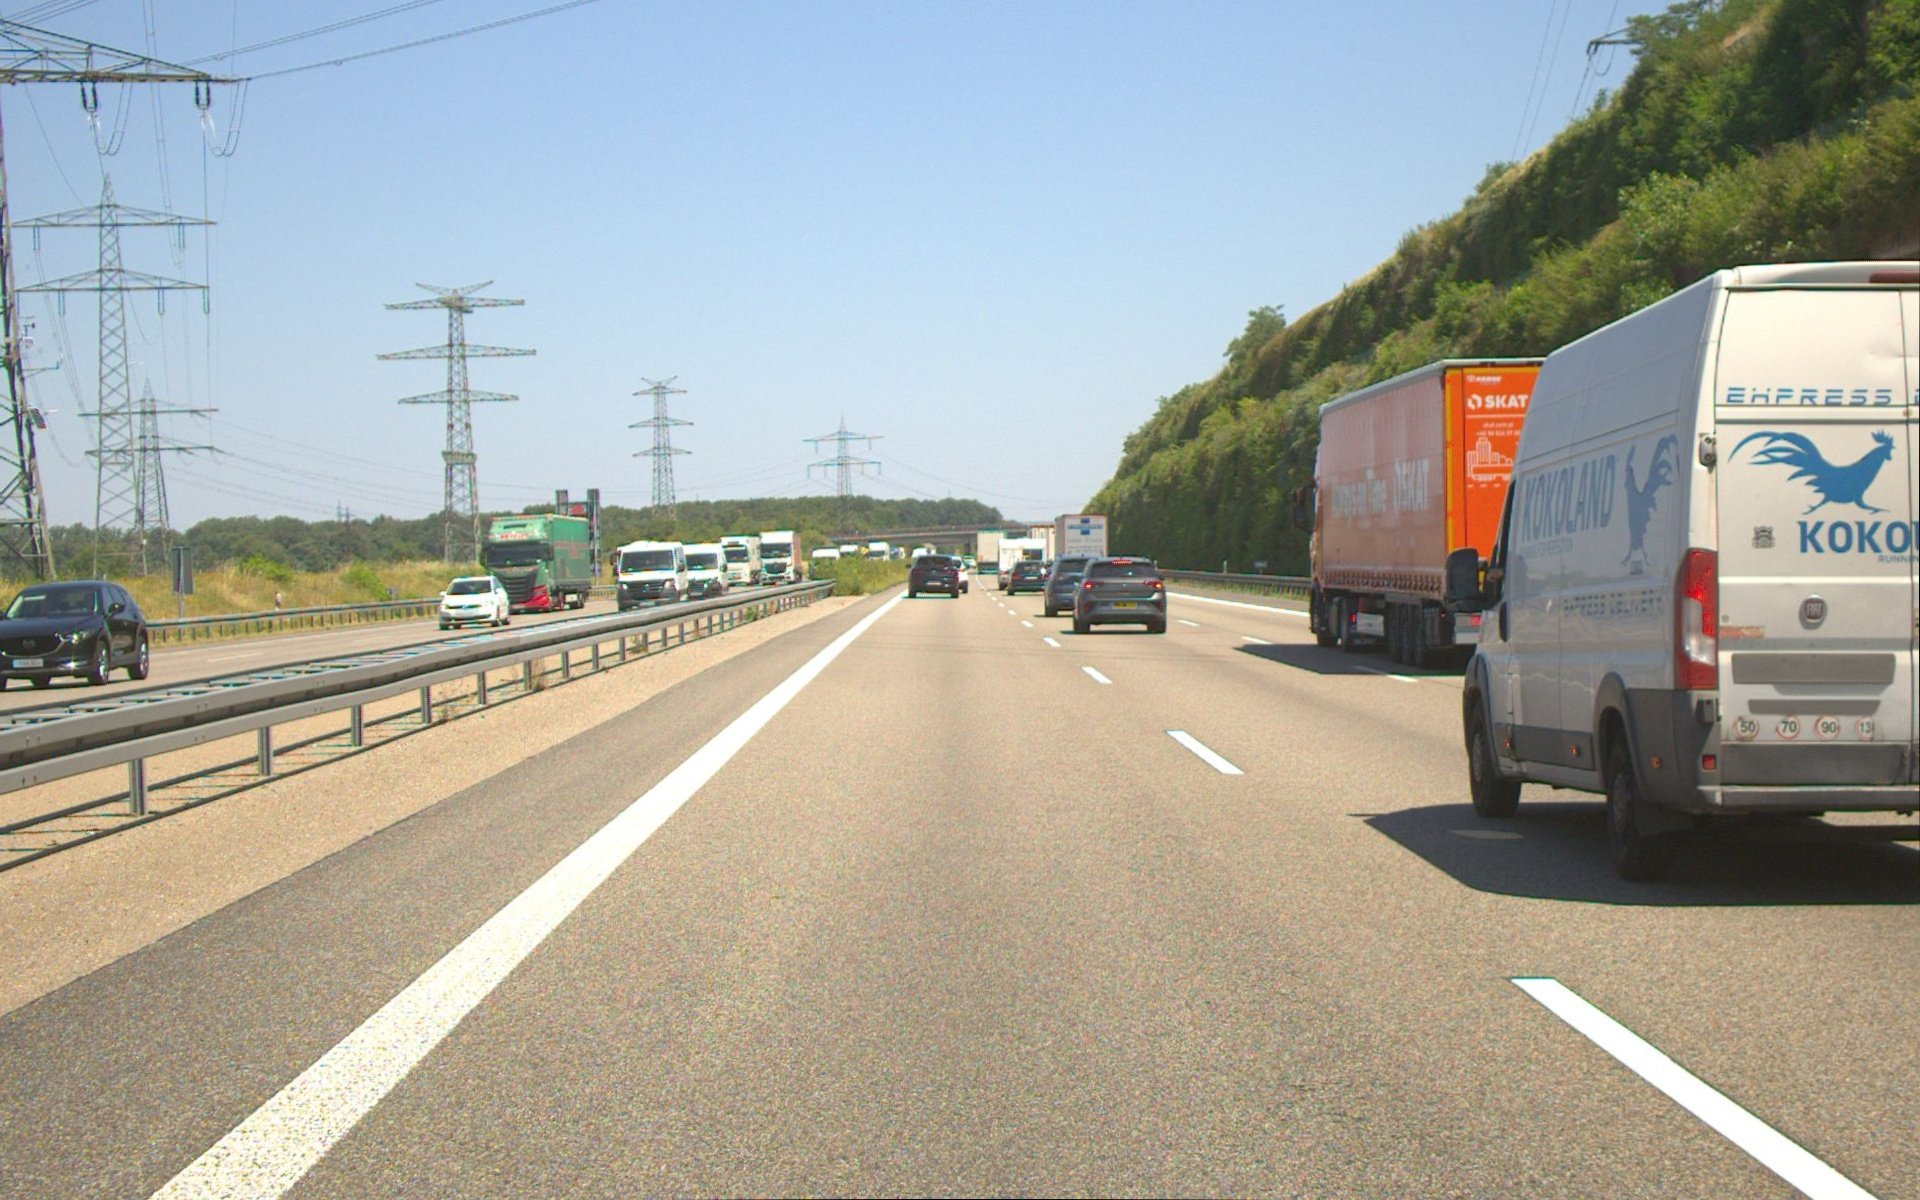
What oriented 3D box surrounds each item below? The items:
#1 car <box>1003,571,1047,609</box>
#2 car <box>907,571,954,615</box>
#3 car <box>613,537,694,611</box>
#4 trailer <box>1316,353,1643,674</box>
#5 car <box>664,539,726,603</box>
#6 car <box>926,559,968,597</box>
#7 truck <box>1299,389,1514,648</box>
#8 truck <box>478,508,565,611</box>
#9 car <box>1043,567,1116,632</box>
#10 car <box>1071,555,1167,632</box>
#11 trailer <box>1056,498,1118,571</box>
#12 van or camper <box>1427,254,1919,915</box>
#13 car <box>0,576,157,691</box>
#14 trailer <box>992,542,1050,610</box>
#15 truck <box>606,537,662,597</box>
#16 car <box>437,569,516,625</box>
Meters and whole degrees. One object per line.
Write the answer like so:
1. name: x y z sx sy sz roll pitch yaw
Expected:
1. car: 2.767 -0.442 146.430 1.830 1.520 4.000 -1 1 1
2. car: -1.158 -0.272 136.272 1.830 1.665 4.000 -1 1 0
3. car: -10.031 -0.878 112.999 2.108 2.290 6.707 -2 1 -1
4. trailer: 7.188 -1.165 49.719 2.645 3.991 13.606 0 1 0
5. car: -10.726 -1.193 139.315 2.047 2.430 6.070 -2 1 -1
6. car: -0.566 -0.992 154.955 1.830 1.665 4.000 -1 1 0
7. truck: 7.220 -1.297 56.365 2.618 3.979 6.527 -1 1 0
8. truck: -18.260 -1.709 143.422 2.699 4.120 6.581 -2 1 0
9. car: 3.133 -0.039 91.050 1.794 1.647 4.138 -1 1 0
10. car: 3.226 -0.148 70.372 1.749 1.520 3.995 -1 1 0
11. trailer: 7.429 -3.829 202.877 3.183 4.107 13.431 -1 1 0
12. van or camper: 3.972 -0.111 17.771 2.096 2.759 6.757 0 1 -1
13. car: -14.172 0.507 54.388 1.840 1.624 4.414 -4 1 0
14. trailer: 3.002 -1.223 171.218 2.610 3.202 9.953 -1 1 0
15. truck: -18.674 -1.902 197.296 2.483 3.367 6.211 -2 1 0
16. car: -14.621 -0.109 104.146 1.707 1.518 4.514 -4 1 -1
